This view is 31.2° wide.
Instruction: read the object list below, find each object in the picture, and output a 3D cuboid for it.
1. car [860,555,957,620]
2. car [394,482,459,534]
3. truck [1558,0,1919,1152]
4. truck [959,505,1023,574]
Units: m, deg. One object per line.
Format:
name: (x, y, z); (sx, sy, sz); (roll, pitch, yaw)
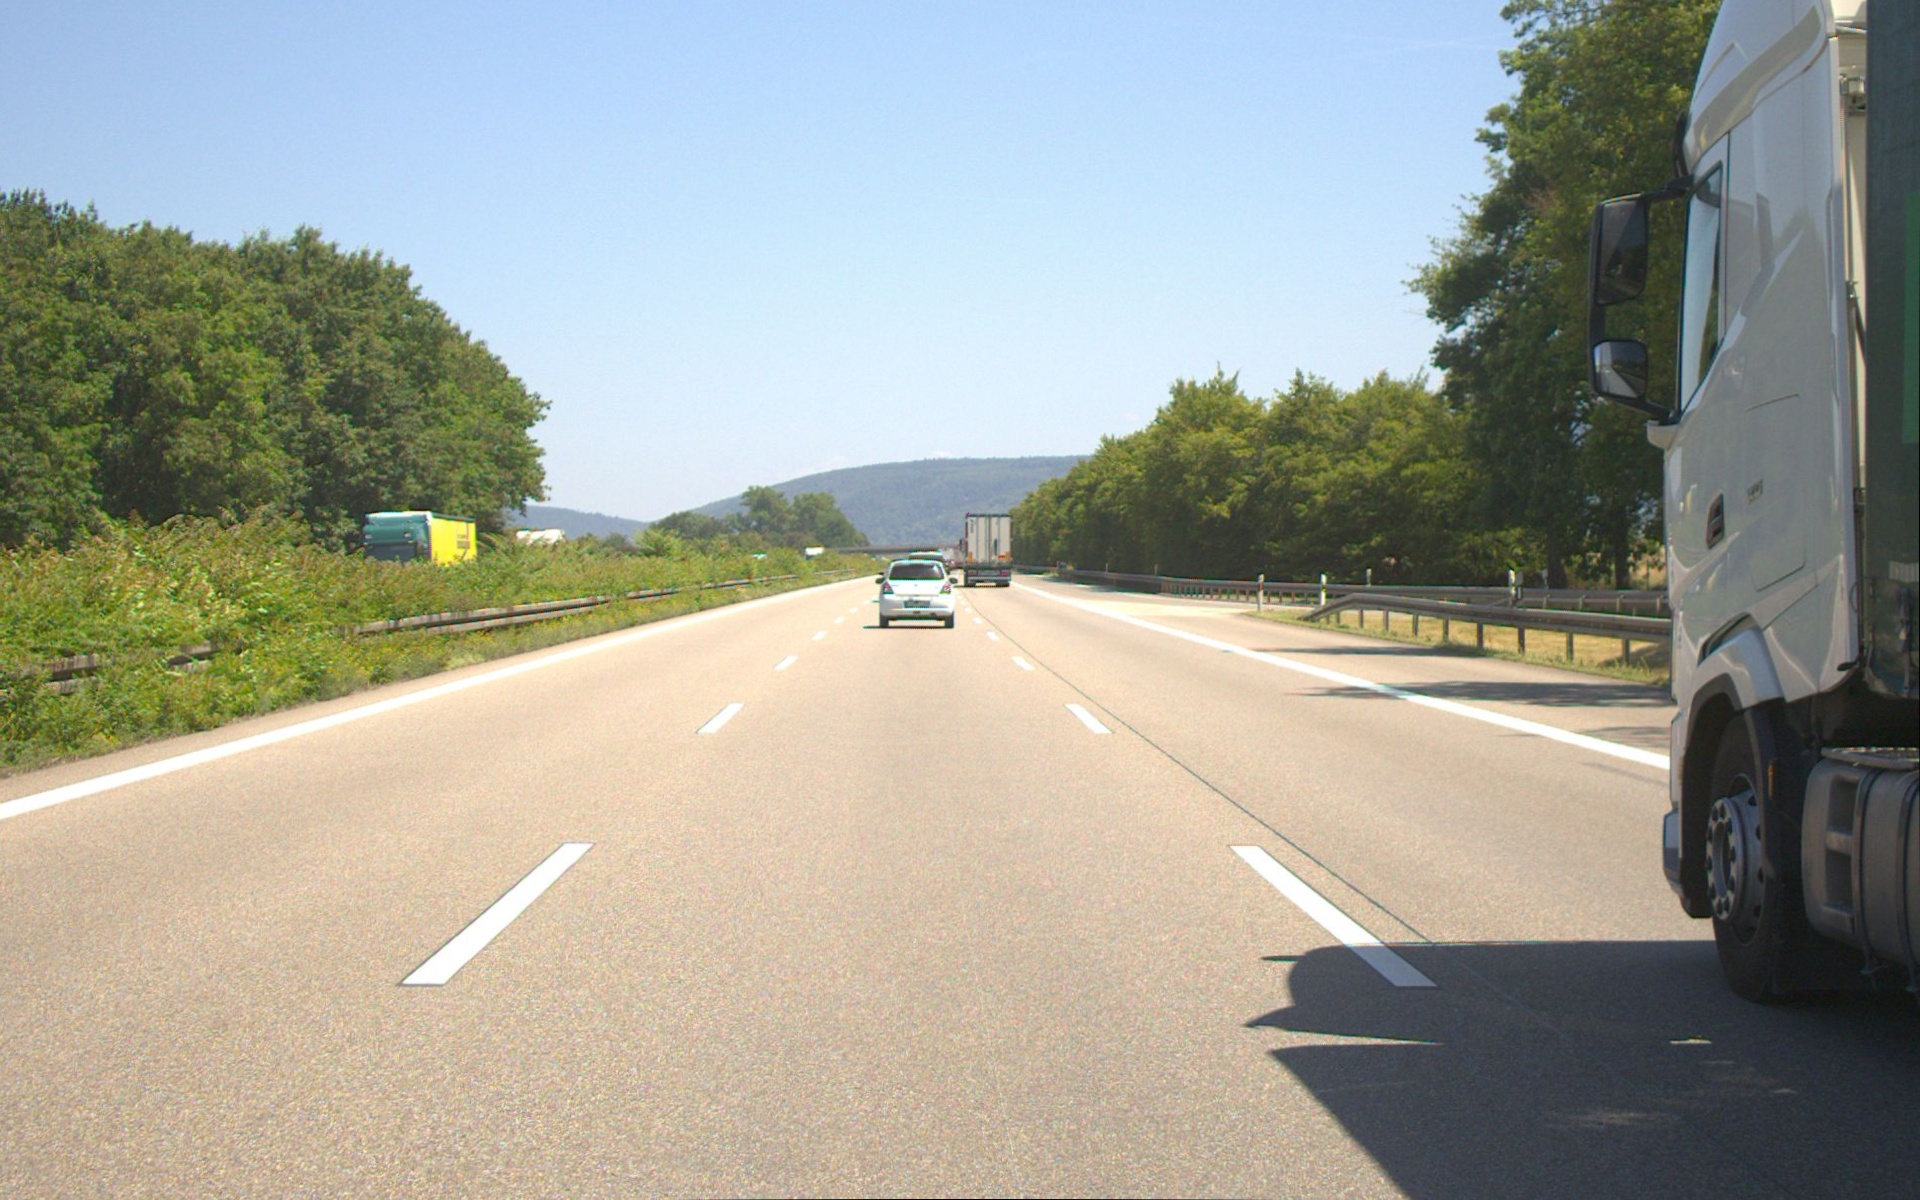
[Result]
car: (-1.187, -0.303, 77.645); (1.811, 1.400, 3.318); (-1, 1, -8)
car: (-21.201, -3.632, 136.743); (1.993, 2.007, 4.000); (0, 1, -1)
truck: (4.016, -0.912, 10.659); (3.182, 4.591, 5.948); (0, 1, -1)
truck: (1.685, -3.439, 195.163); (3.325, 3.744, 12.796); (0, 1, -1)
